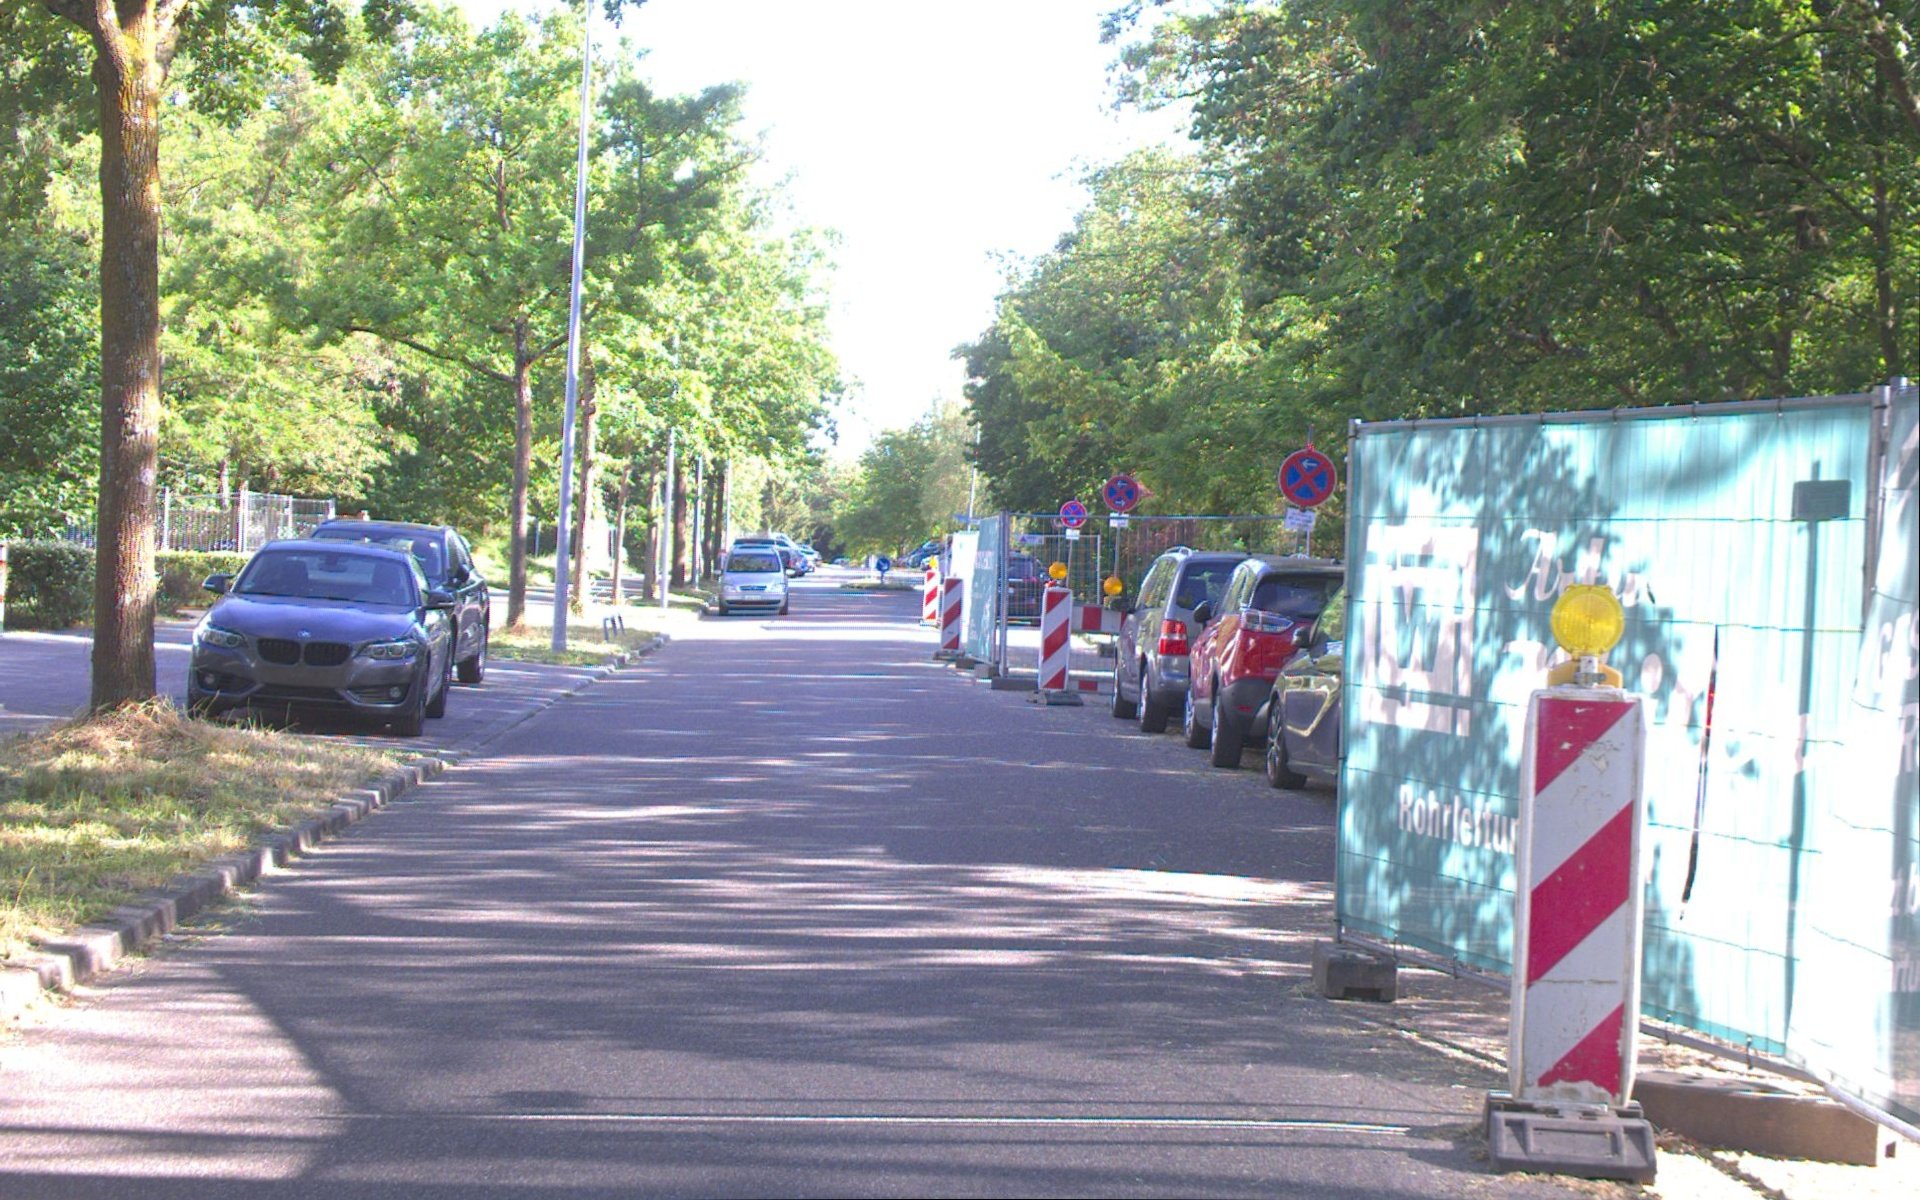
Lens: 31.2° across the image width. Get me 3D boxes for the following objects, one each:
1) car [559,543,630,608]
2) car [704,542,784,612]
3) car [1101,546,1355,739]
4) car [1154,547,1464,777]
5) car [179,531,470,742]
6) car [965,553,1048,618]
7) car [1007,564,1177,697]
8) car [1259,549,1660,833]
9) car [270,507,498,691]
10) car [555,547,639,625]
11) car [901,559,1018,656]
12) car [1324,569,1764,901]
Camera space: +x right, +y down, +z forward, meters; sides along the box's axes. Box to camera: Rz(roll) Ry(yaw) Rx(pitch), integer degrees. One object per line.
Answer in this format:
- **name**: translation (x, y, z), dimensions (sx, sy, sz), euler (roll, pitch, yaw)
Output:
- **car**: translation (-7.909, -0.526, 74.587), dimensions (1.361, 1.298, 3.482), euler (3, 0, -5)
- **car**: translation (-5.297, -0.555, 84.115), dimensions (1.710, 1.579, 4.001), euler (3, 0, -6)
- **car**: translation (2.374, 0.336, 31.290), dimensions (1.753, 1.590, 3.658), euler (2, 1, -4)
- **car**: translation (2.620, 0.419, 26.617), dimensions (1.753, 1.590, 3.658), euler (2, 1, -4)
- **car**: translation (-4.924, 0.237, 27.076), dimensions (1.750, 1.473, 3.837), euler (2, 1, -4)
- **car**: translation (1.064, -0.365, 80.191), dimensions (1.794, 1.405, 4.000), euler (2, 1, -1)
- **car**: translation (1.384, 0.308, 37.165), dimensions (1.361, 1.298, 3.482), euler (3, 0, -5)
- **car**: translation (3.076, 0.507, 21.880), dimensions (1.753, 1.590, 3.658), euler (2, 1, -4)
- **car**: translation (-5.684, -0.035, 34.286), dimensions (1.689, 1.669, 3.502), euler (3, 1, -1)
- **car**: translation (-6.561, -0.248, 62.410), dimensions (1.361, 1.298, 3.482), euler (3, 0, -5)
- **car**: translation (-0.041, 0.099, 50.090), dimensions (1.361, 1.298, 3.482), euler (3, 0, -5)
- **car**: translation (2.888, 0.619, 17.565), dimensions (1.500, 1.473, 3.059), euler (2, 1, -4)
